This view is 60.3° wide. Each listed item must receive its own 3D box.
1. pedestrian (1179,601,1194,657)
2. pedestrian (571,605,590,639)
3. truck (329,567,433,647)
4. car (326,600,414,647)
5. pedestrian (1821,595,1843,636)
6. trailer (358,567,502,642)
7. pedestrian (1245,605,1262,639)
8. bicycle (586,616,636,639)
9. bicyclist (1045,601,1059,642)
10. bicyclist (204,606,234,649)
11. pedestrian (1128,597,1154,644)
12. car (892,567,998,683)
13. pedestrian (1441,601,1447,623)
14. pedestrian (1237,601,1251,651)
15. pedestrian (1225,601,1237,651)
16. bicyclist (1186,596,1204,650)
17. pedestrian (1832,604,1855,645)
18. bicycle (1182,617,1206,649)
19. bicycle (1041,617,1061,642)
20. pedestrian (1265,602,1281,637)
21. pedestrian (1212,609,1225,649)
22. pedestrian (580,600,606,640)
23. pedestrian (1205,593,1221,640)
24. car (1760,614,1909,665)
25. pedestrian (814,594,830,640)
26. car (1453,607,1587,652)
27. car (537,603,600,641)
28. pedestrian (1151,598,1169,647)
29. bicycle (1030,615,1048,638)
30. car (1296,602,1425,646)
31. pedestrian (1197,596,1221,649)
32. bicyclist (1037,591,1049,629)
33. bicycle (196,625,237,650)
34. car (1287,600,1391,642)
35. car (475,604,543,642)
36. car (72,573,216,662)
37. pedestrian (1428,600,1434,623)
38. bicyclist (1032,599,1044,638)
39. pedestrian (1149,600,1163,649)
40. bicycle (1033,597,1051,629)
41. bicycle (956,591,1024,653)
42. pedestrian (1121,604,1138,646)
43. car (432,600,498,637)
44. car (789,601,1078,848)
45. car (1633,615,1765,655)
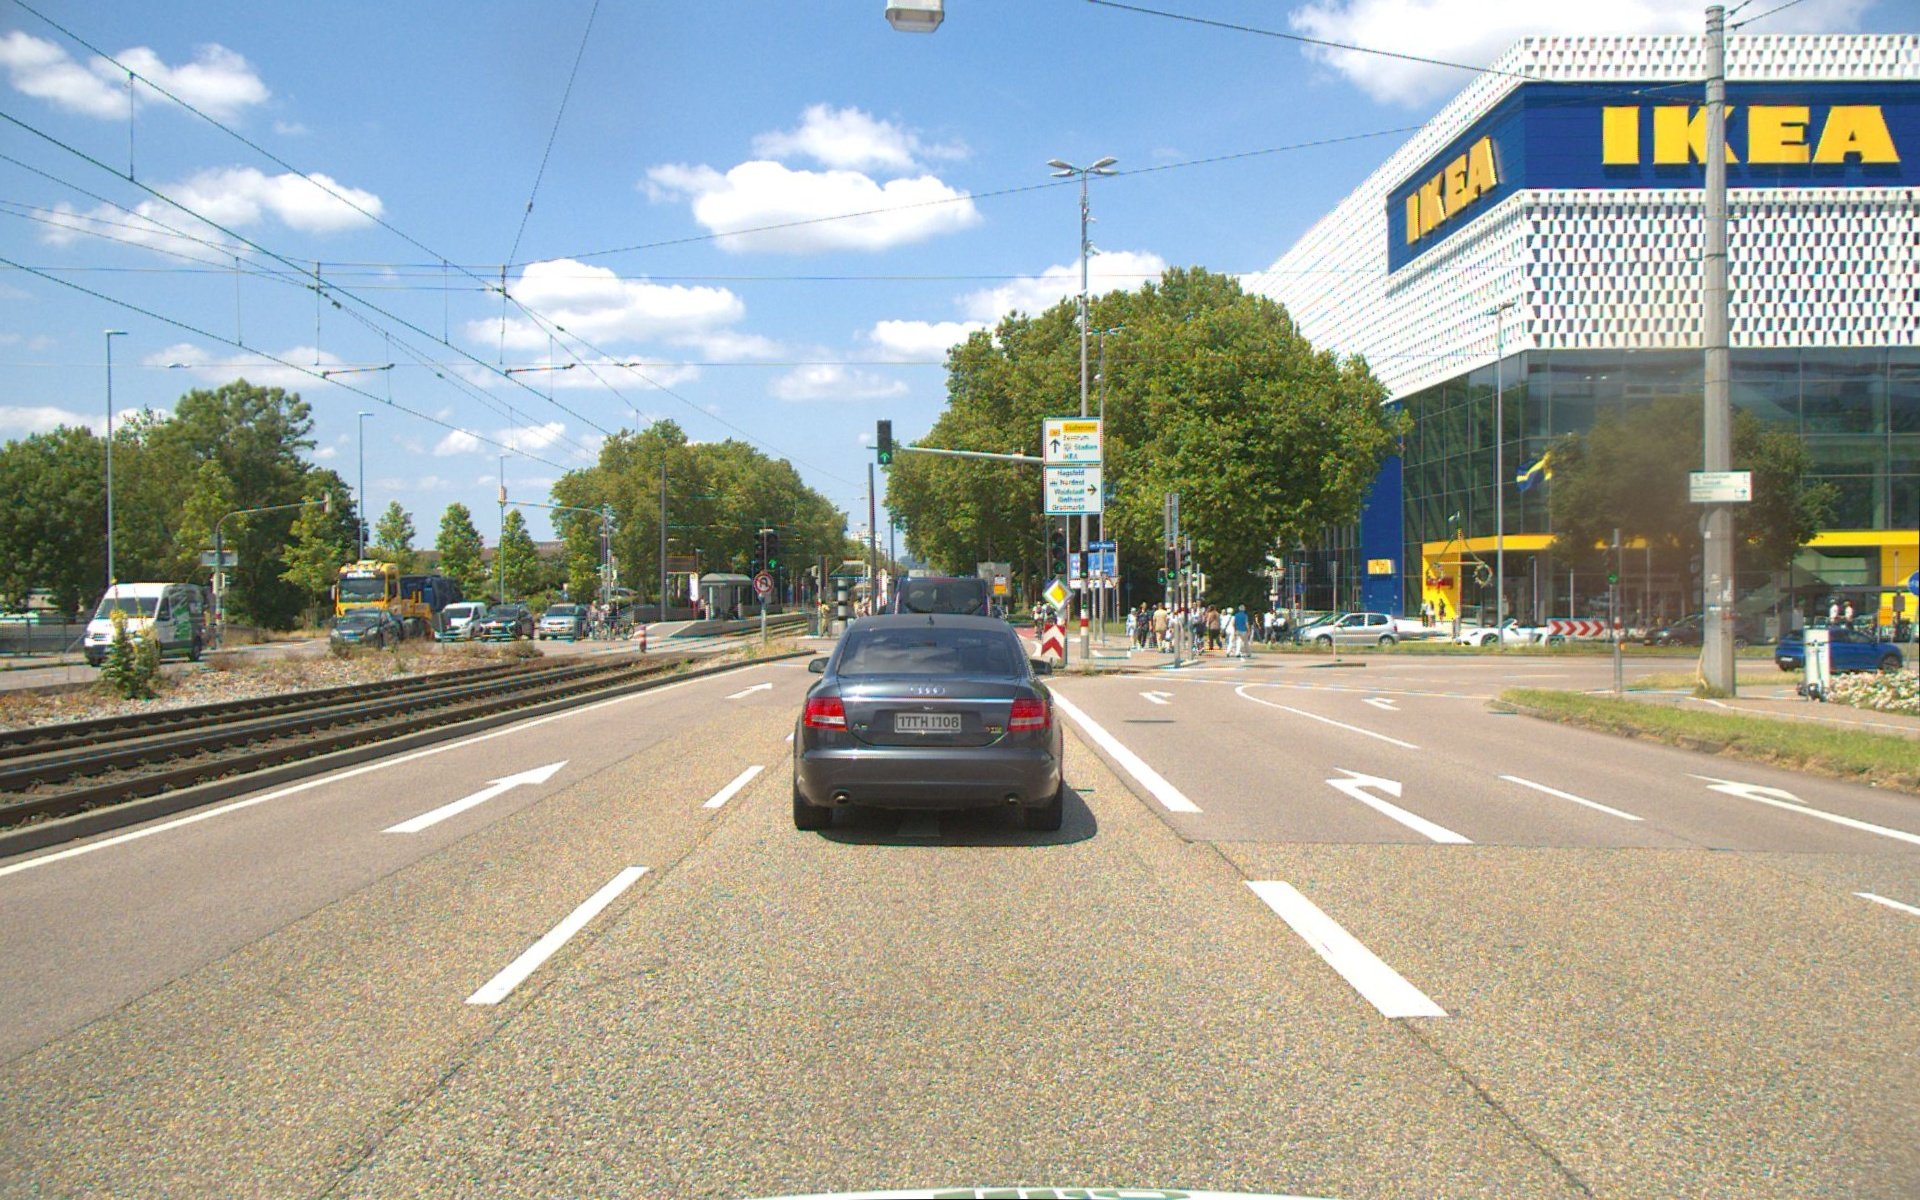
[{"bbox_3d":[6.810,0.861,49.748,0.373,1.664,0.377,1,0,2],"label":"pedestrian"},{"bbox_3d":[-16.348,0.934,71.269,0.671,1.469,0.572,0,-1,-4],"label":"pedestrian"},{"bbox_3d":[-27.457,0.314,78.749,2.711,3.631,6.438,1,0,-1],"label":"truck"},{"bbox_3d":[-22.664,0.877,63.708,1.785,1.699,4.460,1,0,-1],"label":"car"},{"bbox_3d":[43.954,0.797,83.370,0.696,2.049,0.824,1,0,1],"label":"pedestrian"},{"bbox_3d":[-27.598,0.239,87.242,2.711,3.580,15.874,1,0,-1],"label":"trailer"},{"bbox_3d":[13.984,1.046,78.894,0.690,1.571,0.678,1,0,18],"label":"pedestrian"},{"bbox_3d":[-14.856,1.160,70.450,2.019,0.941,0.751,1,0,-11],"label":"bicycle"},{"bbox_3d":[3.932,0.920,70.765,0.518,1.705,1.088,0,-1,-1],"label":"bicyclist"},{"bbox_3d":[-31.426,1.175,70.154,1.097,1.805,0.340,1,0,-6],"label":"bicyclist"},{"bbox_3d":[6.439,0.734,58.762,0.699,1.664,0.706,1,0,25],"label":"pedestrian"},{"bbox_3d":[-0.292,0.438,30.395,1.799,1.984,3.999,0,0,-1],"label":"car"},{"bbox_3d":[29.162,0.718,99.750,0.283,1.366,0.266,0,-1,-1],"label":"pedestrian"},{"bbox_3d":[9.404,0.856,54.818,0.389,1.664,0.371,1,0,2],"label":"pedestrian"},{"bbox_3d":[8.979,0.861,54.845,0.314,1.664,0.377,1,0,2],"label":"pedestrian"},{"bbox_3d":[7.863,0.768,55.384,0.517,1.795,0.828,0,-1,13],"label":"bicyclist"},{"bbox_3d":[44.001,1.215,82.411,0.696,2.049,0.824,1,0,1],"label":"pedestrian"},{"bbox_3d":[7.892,1.112,55.663,0.645,1.040,1.863,1,0,13],"label":"bicycle"},{"bbox_3d":[3.889,1.249,70.674,0.673,1.023,2.751,1,0,0],"label":"bicycle"},{"bbox_3d":[14.875,0.920,78.595,0.690,1.664,0.612,1,0,18],"label":"pedestrian"},{"bbox_3d":[8.619,0.979,55.125,0.365,1.326,0.365,1,0,2],"label":"pedestrian"},{"bbox_3d":[-16.406,0.900,73.930,0.806,1.750,0.775,0,-1,21],"label":"pedestrian"},{"bbox_3d":[9.226,0.596,60.280,0.510,1.699,0.494,1,0,2],"label":"pedestrian"},{"bbox_3d":[28.011,1.242,53.036,3.914,1.480,1.839,2,0,-10],"label":"car"},{"bbox_3d":[-6.215,0.759,74.520,0.672,2.049,0.572,0,-1,-5],"label":"pedestrian"},{"bbox_3d":[21.195,1.098,62.716,4.403,1.512,2.001,2,0,3],"label":"car"},{"bbox_3d":[-18.447,1.021,78.140,1.784,1.699,4.462,1,0,2],"label":"car"},{"bbox_3d":[6.945,0.776,57.411,0.542,1.664,0.433,1,0,2],"label":"pedestrian"},{"bbox_3d":[3.640,1.213,76.659,0.673,1.011,2.751,1,0,0],"label":"bicycle"},{"bbox_3d":[15.127,0.893,62.601,4.403,1.512,2.001,2,0,3],"label":"car"},{"bbox_3d":[8.843,0.789,58.729,0.671,1.878,0.706,1,0,25],"label":"pedestrian"},{"bbox_3d":[4.017,0.466,80.056,0.518,1.820,1.088,0,-1,-1],"label":"bicyclist"},{"bbox_3d":[-31.544,1.589,70.184,1.461,1.004,0.485,1,0,-5],"label":"bicycle"},{"bbox_3d":[15.036,0.825,65.831,3.710,1.512,2.001,2,0,3],"label":"car"},{"bbox_3d":[-21.208,1.059,77.898,1.784,1.699,4.462,1,0,2],"label":"car"},{"bbox_3d":[-26.365,0.506,53.757,2.201,2.634,6.224,-2,1,-7],"label":"car"},{"bbox_3d":[28.350,0.693,99.541,0.283,1.366,0.266,0,-1,-1],"label":"pedestrian"},{"bbox_3d":[3.640,0.859,76.959,0.518,1.820,1.088,0,-1,0],"label":"bicyclist"},{"bbox_3d":[6.768,0.838,57.235,0.435,1.664,0.430,1,0,2],"label":"pedestrian"},{"bbox_3d":[3.988,0.614,80.508,0.673,1.545,2.751,1,0,0],"label":"bicycle"},{"bbox_3d":[1.061,0.735,56.786,1.951,2.049,4.003,1,0,6],"label":"bicycle"},{"bbox_3d":[6.340,0.929,61.805,0.483,1.546,0.707,1,0,17],"label":"pedestrian"},{"bbox_3d":[-24.216,0.892,81.042,1.785,1.699,4.461,1,0,1],"label":"car"},{"bbox_3d":[-0.182,0.759,12.051,1.756,1.480,3.999,0,0,-1],"label":"car"},{"bbox_3d":[29.568,1.381,66.308,4.403,1.512,2.001,1,0,3],"label":"car"}]
